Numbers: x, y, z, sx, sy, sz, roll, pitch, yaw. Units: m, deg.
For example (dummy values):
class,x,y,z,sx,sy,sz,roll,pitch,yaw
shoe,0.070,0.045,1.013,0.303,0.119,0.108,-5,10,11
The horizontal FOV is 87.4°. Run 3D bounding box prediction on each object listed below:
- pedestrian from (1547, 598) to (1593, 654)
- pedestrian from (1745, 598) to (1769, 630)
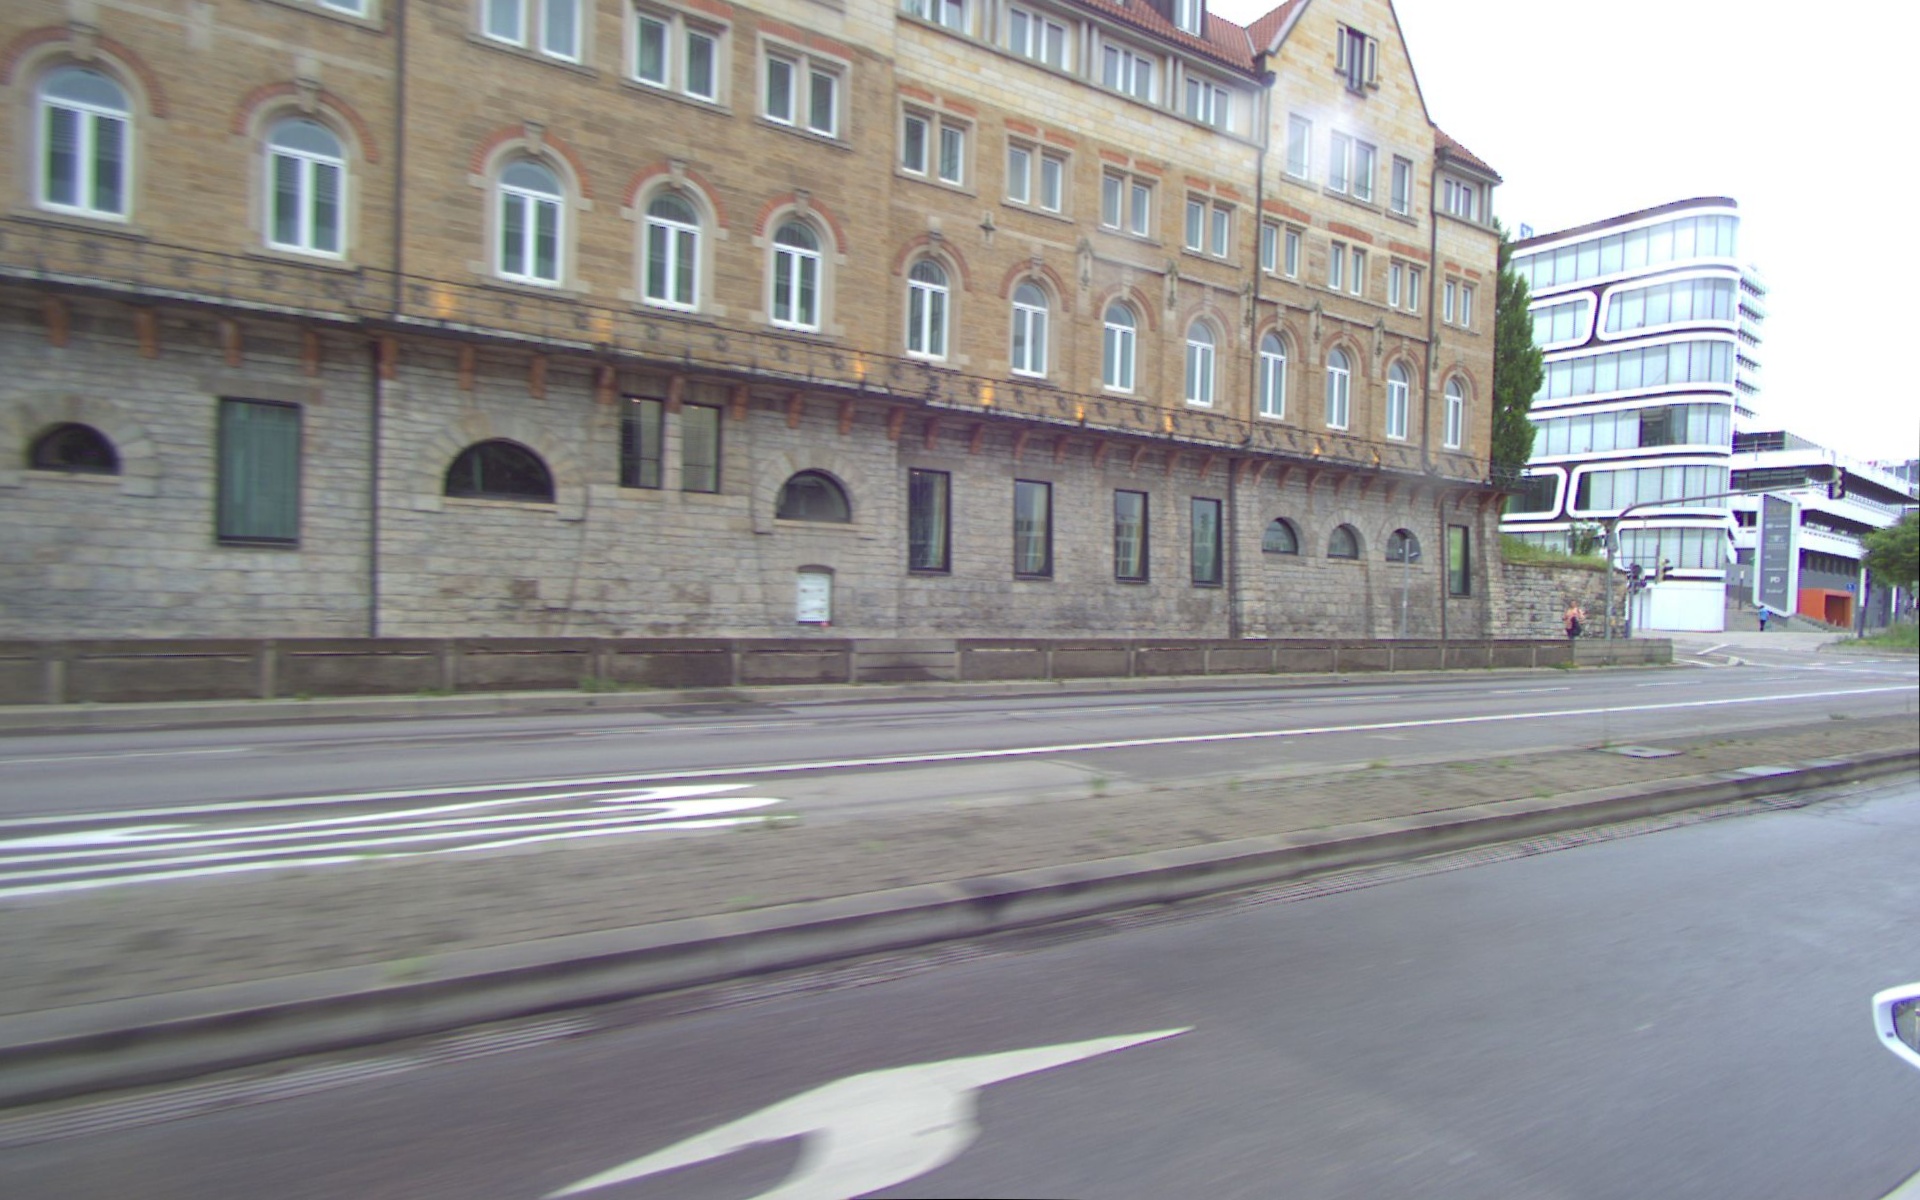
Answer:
class,x,y,z,sx,sy,sz,roll,pitch,yaw
pedestrian,20.850,0.878,34.353,1.040,1.892,0.883,0,0,4
pedestrian,50.676,0.868,63.862,0.707,2.040,1.024,-1,0,-31
